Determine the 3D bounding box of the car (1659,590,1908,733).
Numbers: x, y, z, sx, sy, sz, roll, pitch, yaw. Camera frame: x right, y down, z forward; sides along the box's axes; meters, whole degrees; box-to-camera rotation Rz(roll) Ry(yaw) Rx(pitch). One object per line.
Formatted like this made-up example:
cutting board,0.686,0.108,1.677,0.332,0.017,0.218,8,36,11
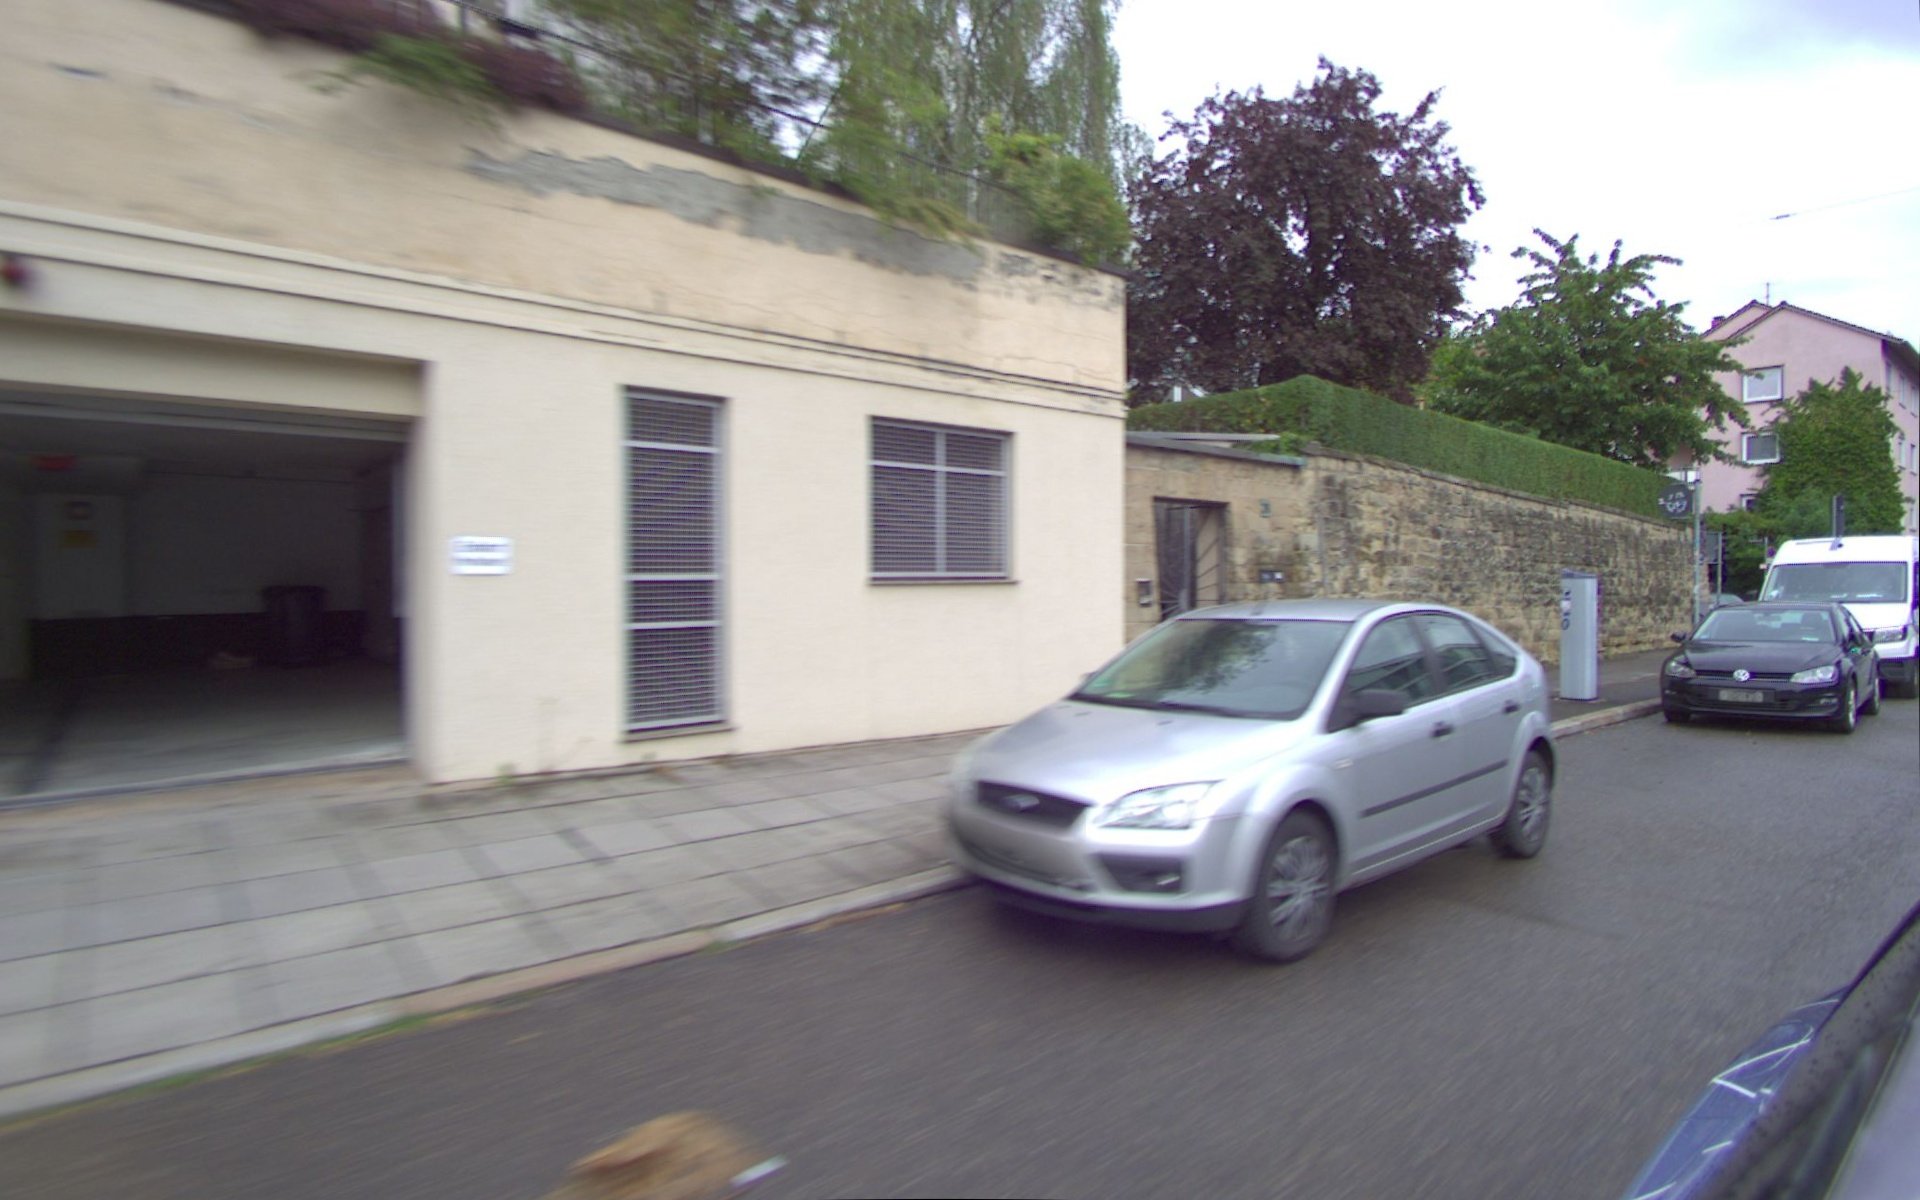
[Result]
car,10.211,0.640,12.443,4.161,1.472,1.691,0,-1,-41

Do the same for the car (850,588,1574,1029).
car,1.602,0.706,5.410,4.161,1.472,1.691,0,-1,-41

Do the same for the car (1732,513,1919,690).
car,15.177,0.032,17.043,5.972,2.495,2.209,0,-1,-40

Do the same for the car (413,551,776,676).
car,-4.753,0.080,13.436,4.129,1.363,1.891,-3,2,-39

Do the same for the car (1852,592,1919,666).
car,20.256,0.569,21.191,4.127,1.439,1.724,0,-1,-39
